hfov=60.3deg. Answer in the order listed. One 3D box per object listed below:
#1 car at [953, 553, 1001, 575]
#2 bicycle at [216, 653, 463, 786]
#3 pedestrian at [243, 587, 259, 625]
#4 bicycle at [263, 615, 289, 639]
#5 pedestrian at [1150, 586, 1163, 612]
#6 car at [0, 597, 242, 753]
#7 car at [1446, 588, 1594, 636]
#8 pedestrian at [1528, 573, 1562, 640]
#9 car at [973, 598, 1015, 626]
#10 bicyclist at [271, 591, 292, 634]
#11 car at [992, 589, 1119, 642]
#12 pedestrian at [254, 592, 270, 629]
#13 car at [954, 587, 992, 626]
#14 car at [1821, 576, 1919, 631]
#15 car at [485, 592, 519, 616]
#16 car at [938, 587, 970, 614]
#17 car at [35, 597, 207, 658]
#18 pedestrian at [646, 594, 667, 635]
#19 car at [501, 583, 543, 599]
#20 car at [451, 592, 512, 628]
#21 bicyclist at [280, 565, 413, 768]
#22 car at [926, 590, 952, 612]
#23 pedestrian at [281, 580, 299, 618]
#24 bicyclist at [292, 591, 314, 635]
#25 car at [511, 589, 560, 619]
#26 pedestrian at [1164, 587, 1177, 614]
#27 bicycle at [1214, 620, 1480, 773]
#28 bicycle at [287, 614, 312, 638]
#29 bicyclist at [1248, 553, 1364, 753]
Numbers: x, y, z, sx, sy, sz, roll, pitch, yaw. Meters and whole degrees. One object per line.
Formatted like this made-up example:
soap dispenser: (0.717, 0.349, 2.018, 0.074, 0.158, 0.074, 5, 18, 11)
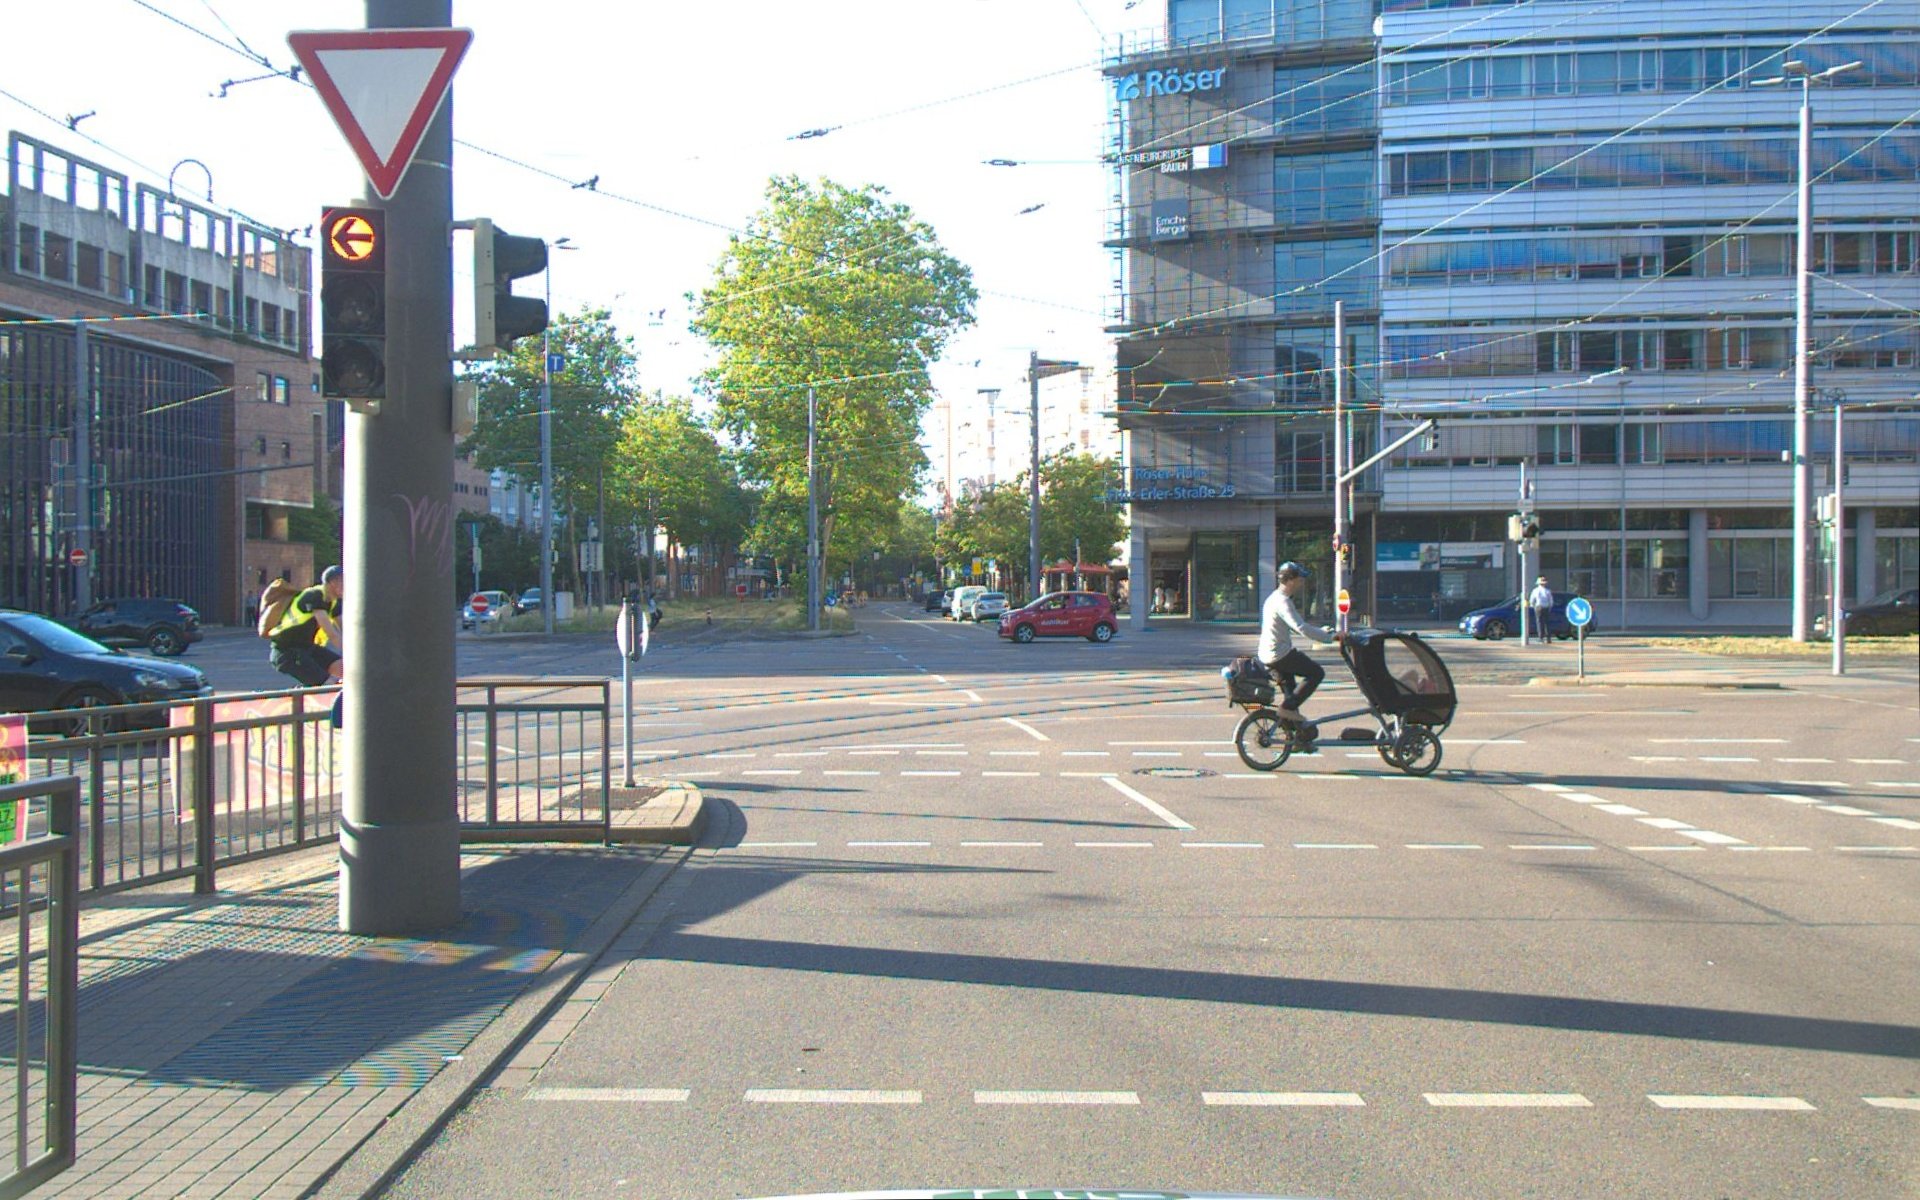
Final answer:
car: (1.454, -3.044, 140.606, 3.681, 1.780, 1.783, 1, 0, 14)
bicycle: (-5.291, 1.008, 14.160, 1.883, 1.083, 0.629, 0, 0, 2)
pedestrian: (-34.577, 0.292, 80.627, 0.479, 1.842, 0.546, -1, 0, 6)
bicycle: (-26.901, 1.055, 65.099, 0.503, 0.897, 1.835, -1, 0, -8)
pedestrian: (11.213, -0.048, 94.348, 0.723, 1.491, 0.537, -1, 0, 8)
car: (-10.263, 0.765, 17.728, 4.302, 1.544, 1.997, 0, 1, -8)
car: (17.081, 0.357, 50.578, 3.904, 1.371, 1.977, -1, 0, 2)
pedestrian: (15.200, 0.173, 42.965, 0.704, 1.711, 0.557, 1, 0, 6)
car: (1.669, 0.592, 82.873, 1.953, 1.355, 3.999, -1, 0, -1)
bicyclist: (-26.752, 0.486, 65.211, 0.582, 1.705, 0.788, -1, 0, -7)
car: (2.824, 0.446, 49.468, 3.527, 1.492, 1.793, -1, 0, -6)
pedestrian: (-34.695, 0.519, 82.201, 0.479, 1.842, 0.546, -1, 0, 6)
car: (0.678, 0.344, 89.698, 1.953, 2.026, 3.999, -1, 0, -1)
car: (25.637, 0.074, 44.325, 4.151, 1.417, 1.796, -1, 0, 4)
car: (-30.761, 0.254, 111.090, 1.873, 1.536, 3.988, 1, 0, -12)
car: (-0.376, 0.025, 104.997, 1.953, 1.691, 3.999, -1, 0, -1)
car: (-22.397, 0.709, 44.278, 3.799, 1.533, 1.787, -1, 0, -17)
pedestrian: (-11.550, 0.537, 62.982, 0.740, 1.557, 0.507, 1, 0, -8)
car: (-45.712, -0.937, 172.743, 3.948, 1.579, 1.589, 1, -1, -32)
car: (-21.421, 0.429, 74.128, 1.955, 1.534, 3.994, -1, 0, -6)
bicyclist: (-5.238, 0.557, 14.155, 0.885, 1.693, 0.639, 0, 0, 2)
car: (-1.632, 0.062, 126.695, 1.953, 1.691, 3.999, -1, 0, -1)
pedestrian: (-32.659, -0.047, 80.614, 0.627, 1.842, 0.546, -1, 0, 6)
bicyclist: (-26.008, 0.502, 65.477, 0.582, 1.705, 0.788, -1, 0, -7)
car: (-22.651, 0.214, 88.426, 1.955, 1.534, 3.994, -1, 0, -6)
pedestrian: (11.945, 0.035, 94.001, 0.691, 1.491, 0.384, -1, 0, 8)
bicycle: (3.337, 0.820, 14.464, 2.112, 1.248, 1.073, 0, 1, 3)
bicycle: (-26.106, 1.023, 65.417, 0.503, 0.897, 1.835, -1, 0, -8)
bicyclist: (3.022, 0.452, 14.503, 0.885, 1.710, 0.691, -1, 0, 2)
